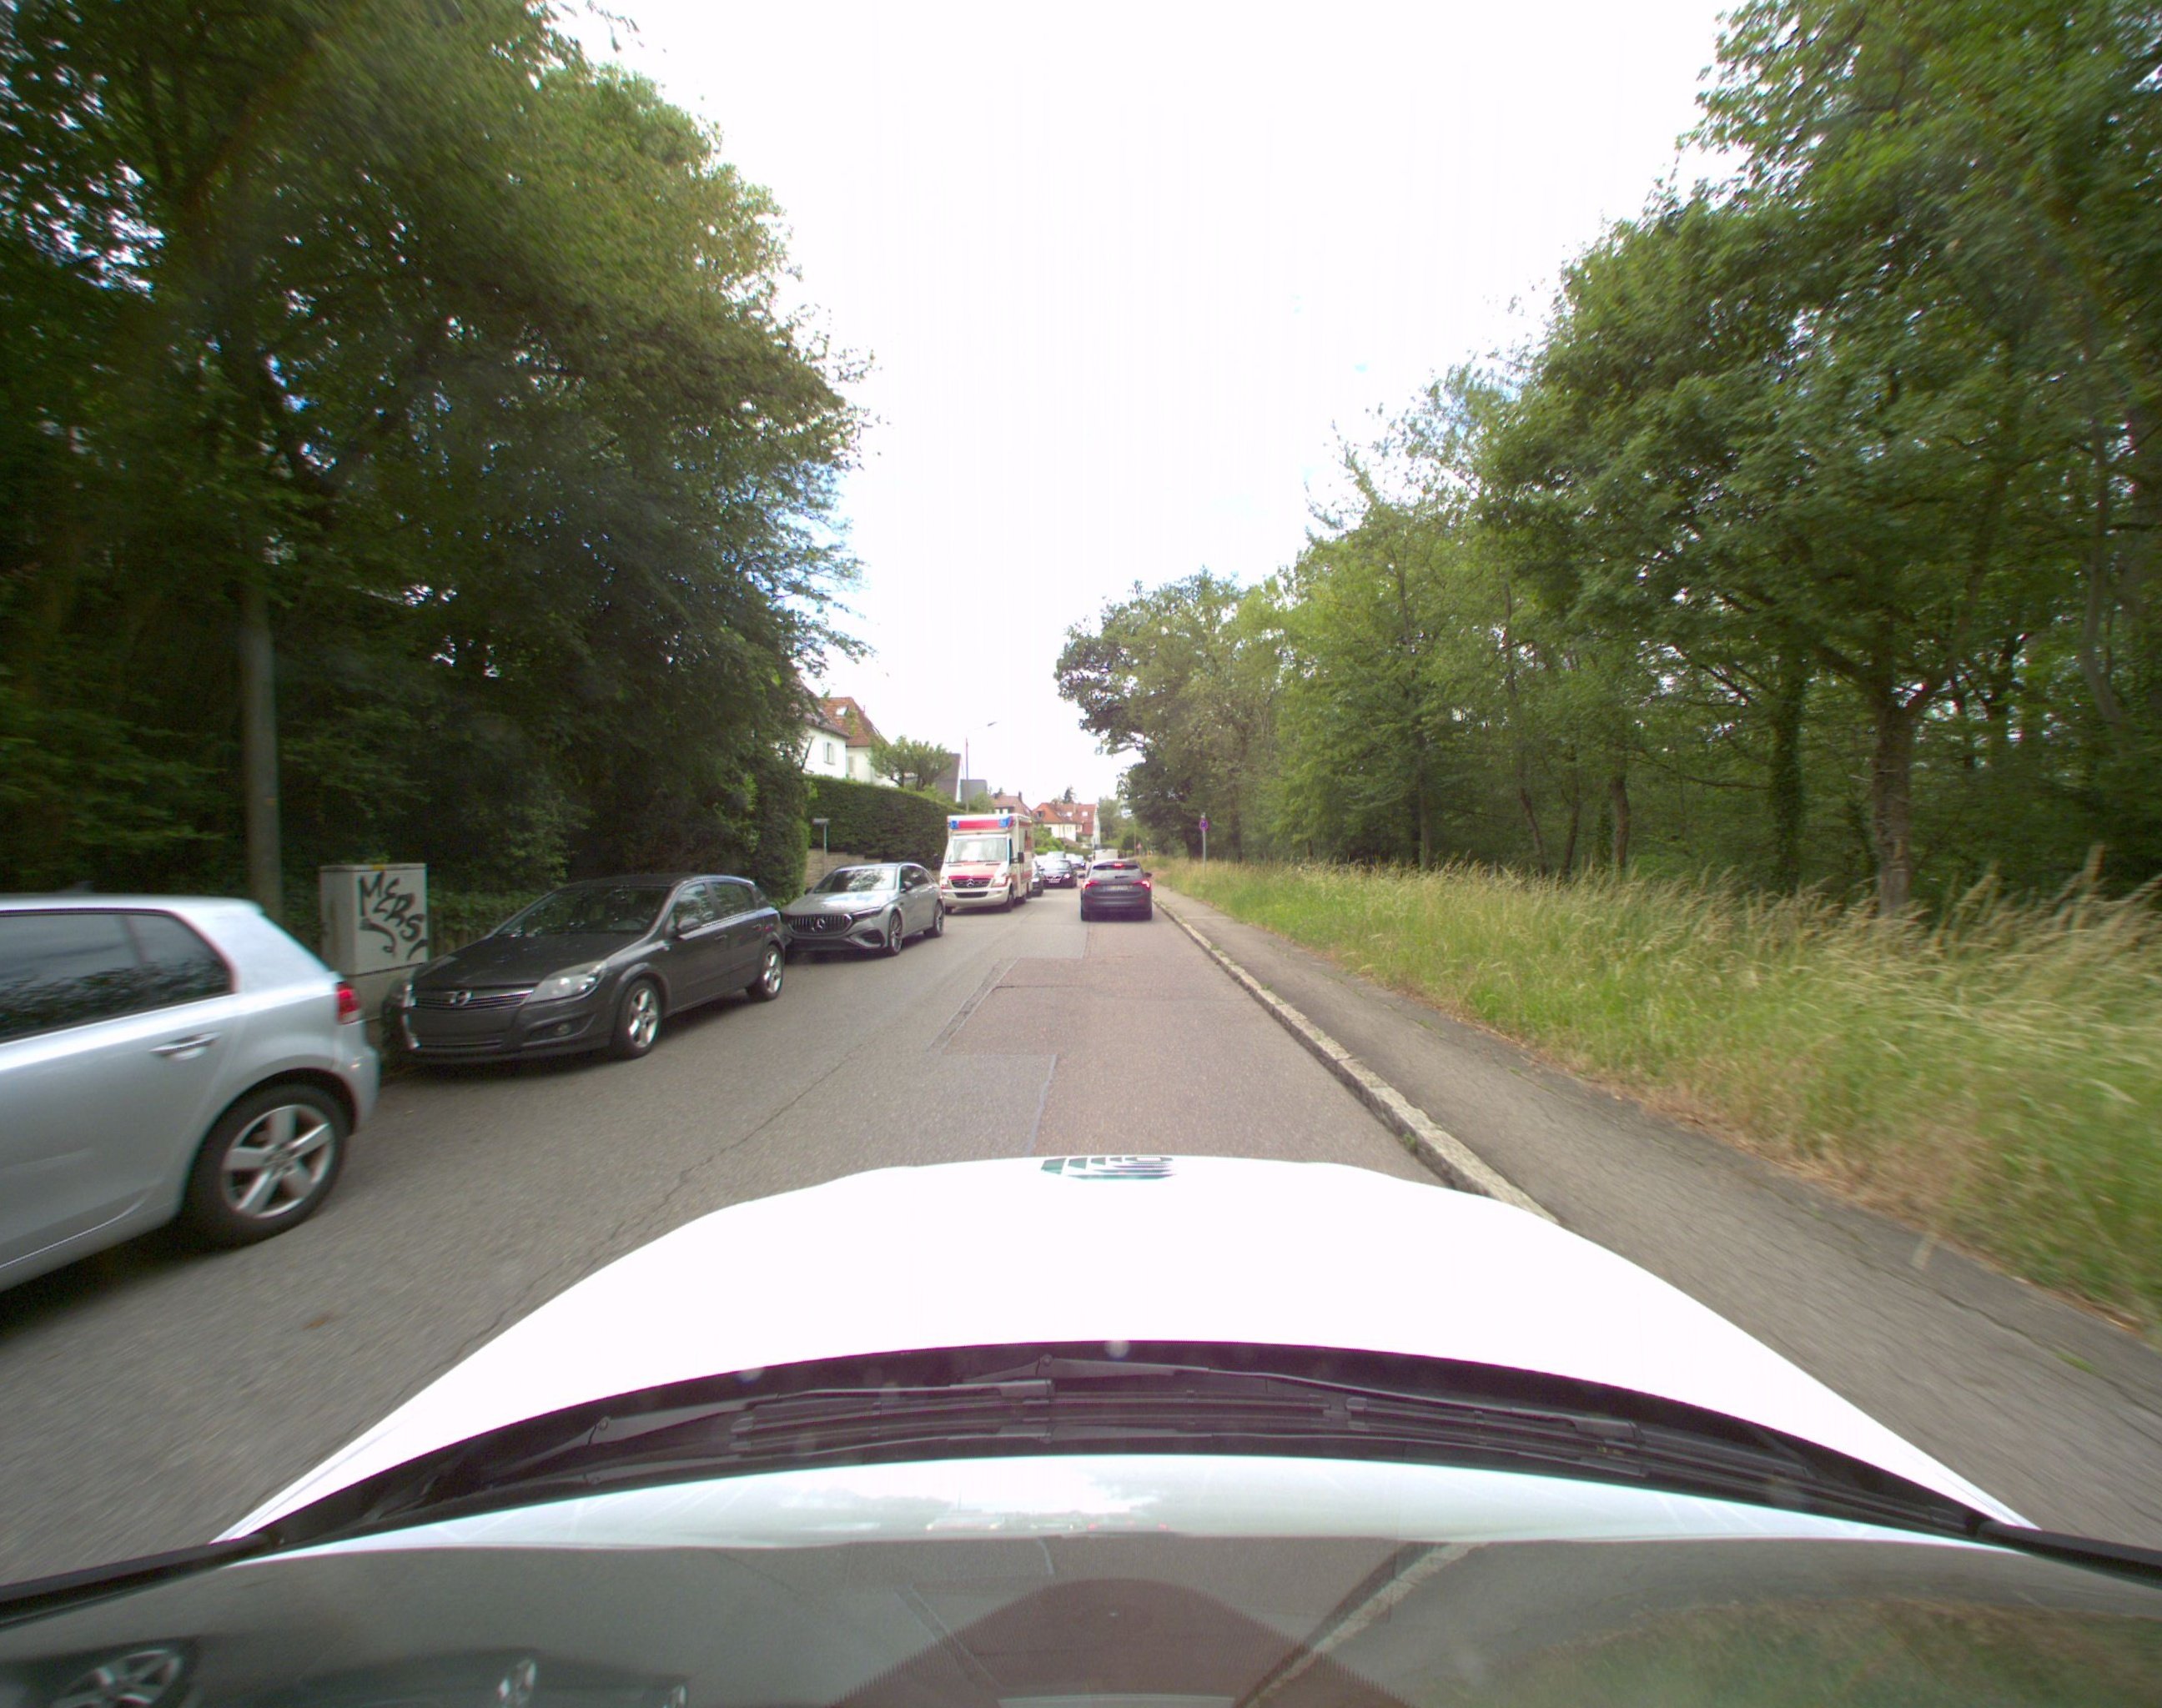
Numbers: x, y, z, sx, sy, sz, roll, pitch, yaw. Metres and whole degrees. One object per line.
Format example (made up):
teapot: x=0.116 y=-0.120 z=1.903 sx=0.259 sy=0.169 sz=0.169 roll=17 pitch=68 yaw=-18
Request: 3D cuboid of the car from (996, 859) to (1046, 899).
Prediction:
car: x=-2.337 y=0.954 z=32.726 sx=1.758 sy=1.446 sz=4.470 roll=-1 pitch=0 yaw=-2

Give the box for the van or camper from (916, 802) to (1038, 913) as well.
van or camper: x=-2.953 y=0.108 z=25.270 sx=2.446 sy=2.895 sz=7.173 roll=-1 pitch=0 yaw=3

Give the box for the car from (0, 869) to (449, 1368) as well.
car: x=-4.200 y=0.859 z=2.215 sx=1.714 sy=1.505 sz=4.008 roll=-3 pitch=0 yaw=1

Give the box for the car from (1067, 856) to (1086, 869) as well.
car: x=-0.568 y=1.023 z=96.801 sx=1.774 sy=1.500 sz=4.022 roll=0 pitch=0 yaw=6

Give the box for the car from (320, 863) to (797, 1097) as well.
car: x=-4.298 y=0.887 z=7.622 sx=1.714 sy=1.505 sz=4.061 roll=-3 pitch=0 yaw=1

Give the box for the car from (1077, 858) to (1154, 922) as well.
car: x=0.787 y=0.832 z=20.914 sx=1.723 sy=1.439 sz=4.321 roll=0 pitch=0 yaw=-1

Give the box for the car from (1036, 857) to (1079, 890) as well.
car: x=-1.101 y=0.921 z=40.223 sx=1.756 sy=1.446 sz=4.477 roll=-1 pitch=0 yaw=3

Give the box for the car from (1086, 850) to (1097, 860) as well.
car: x=1.662 y=0.158 z=127.801 sx=1.827 sy=1.597 sz=4.325 roll=0 pitch=1 yaw=1

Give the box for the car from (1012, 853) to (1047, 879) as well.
car: x=-3.522 y=0.789 z=55.995 sx=1.830 sy=1.648 sz=4.189 roll=-2 pitch=0 yaw=3

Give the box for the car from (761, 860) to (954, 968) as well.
car: x=-3.712 y=0.910 z=14.564 sx=1.790 sy=1.505 sz=4.867 roll=-3 pitch=0 yaw=3

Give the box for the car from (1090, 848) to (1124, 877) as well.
car: x=1.776 y=0.554 z=56.678 sx=2.066 sy=1.922 sz=4.919 roll=0 pitch=0 yaw=-2

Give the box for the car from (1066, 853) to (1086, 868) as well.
car: x=-0.460 y=0.653 z=81.533 sx=1.856 sy=1.414 sz=4.593 roll=0 pitch=0 yaw=1
